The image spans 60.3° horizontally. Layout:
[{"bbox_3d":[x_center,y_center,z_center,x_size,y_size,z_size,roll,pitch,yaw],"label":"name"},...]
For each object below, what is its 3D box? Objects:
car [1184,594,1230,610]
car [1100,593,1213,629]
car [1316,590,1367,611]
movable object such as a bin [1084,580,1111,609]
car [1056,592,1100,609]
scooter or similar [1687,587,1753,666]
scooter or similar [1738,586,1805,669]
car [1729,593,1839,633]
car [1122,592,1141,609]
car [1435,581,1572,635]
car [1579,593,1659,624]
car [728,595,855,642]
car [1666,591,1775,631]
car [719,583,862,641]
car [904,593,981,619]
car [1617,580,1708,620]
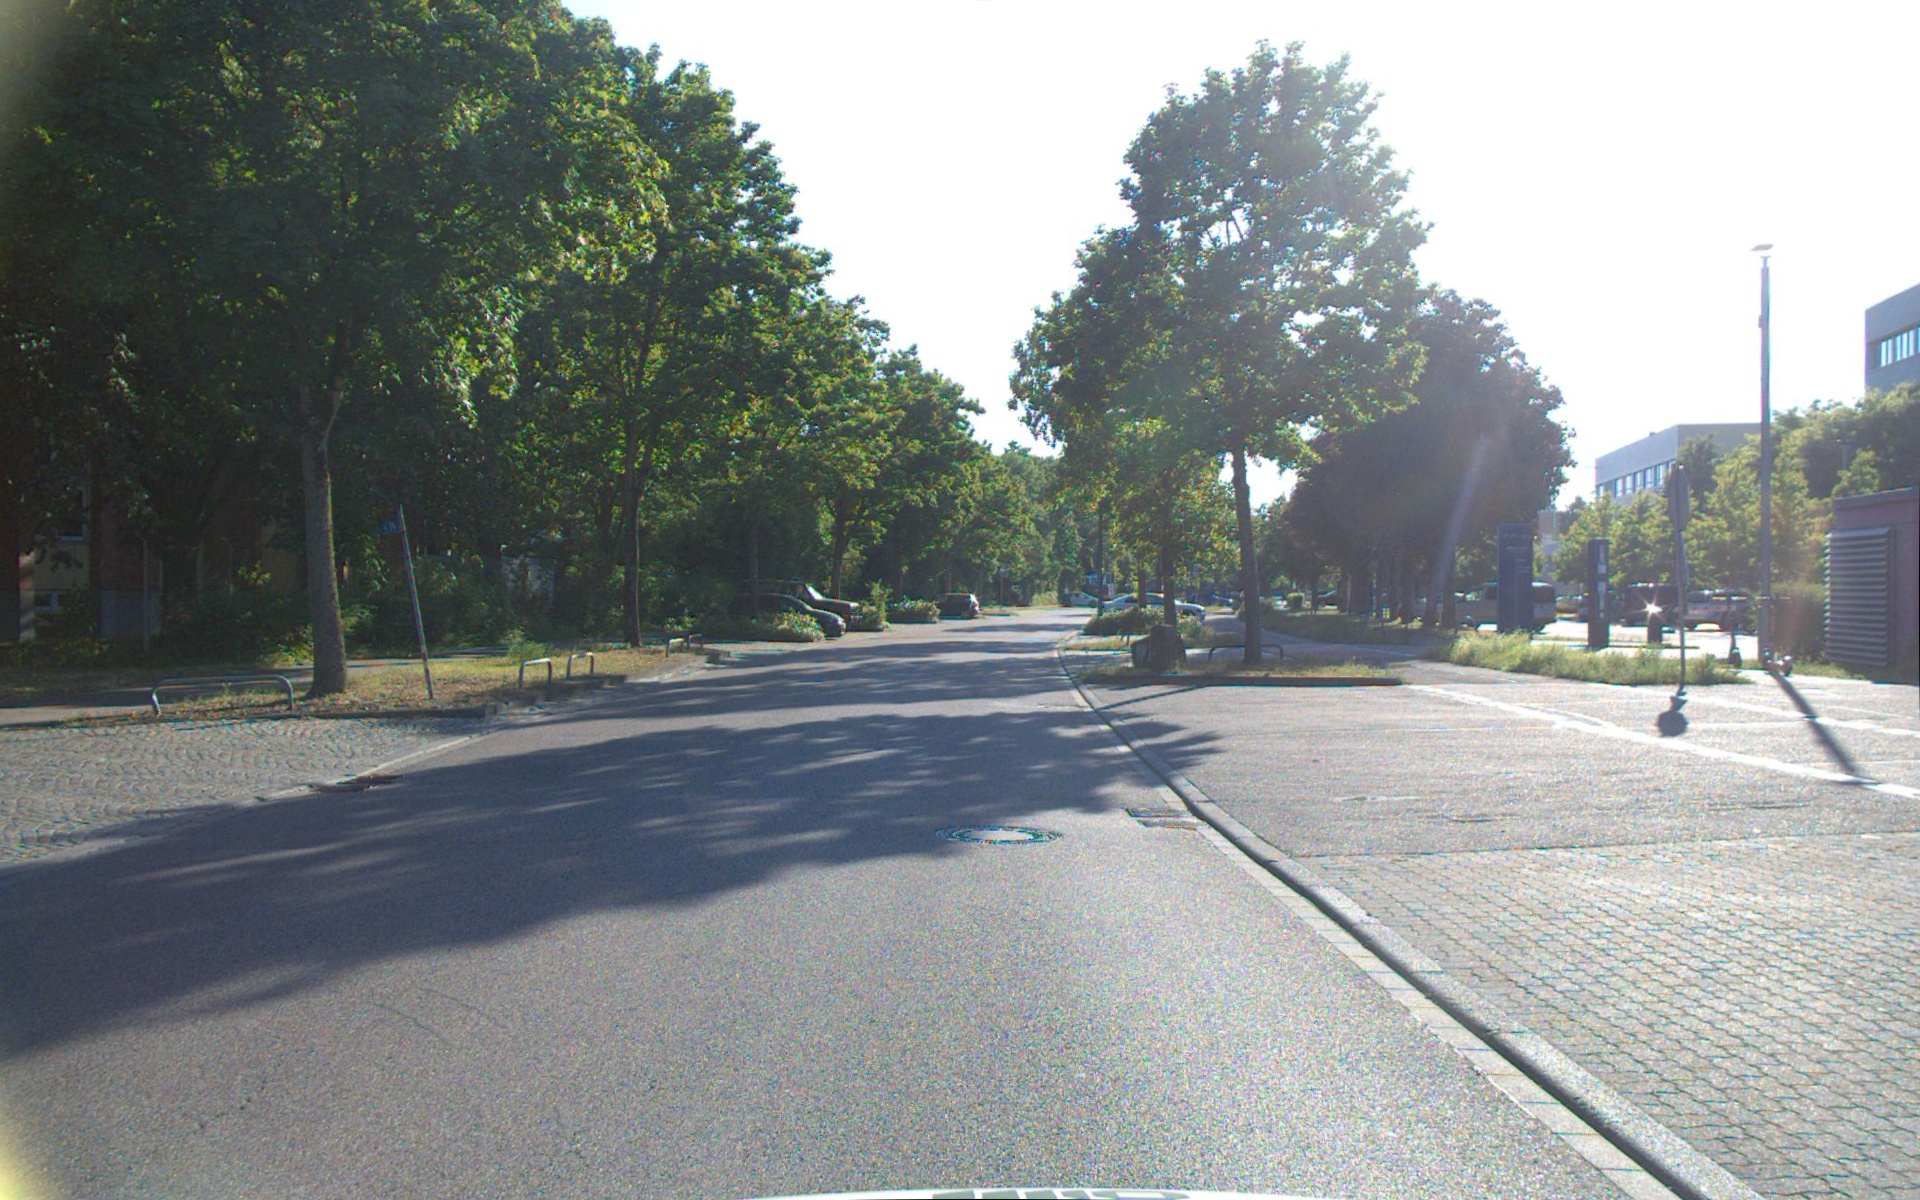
[{"bbox_3d":[26.448,0.234,177.157,4.738,1.505,2.002,2,0,12],"label":"car"},{"bbox_3d":[8.960,0.510,75.785,5.066,1.601,2.159,0,0,5],"label":"car"},{"bbox_3d":[34.615,0.054,150.052,4.335,1.735,2.061,2,0,10],"label":"car"},{"bbox_3d":[15.203,-0.618,182.560,2.778,3.122,4.930,2,0,6],"label":"movable object such as a bin"},{"bbox_3d":[12.143,0.016,170.208,4.265,1.574,2.002,2,0,12],"label":"car"},{"bbox_3d":[12.748,0.430,27.773,0.509,1.294,1.388,0,0,2],"label":"scooter or similar"},{"bbox_3d":[12.946,0.436,26.415,0.509,1.294,1.201,0,0,2],"label":"scooter or similar"},{"bbox_3d":[29.382,0.449,58.941,3.951,1.378,1.786,0,0,-34],"label":"car"},{"bbox_3d":[23.941,0.064,231.398,2.463,2.428,4.375,0,0,4],"label":"car"},{"bbox_3d":[20.997,0.258,64.076,1.977,1.967,4.893,0,1,-35],"label":"car"},{"bbox_3d":[34.321,0.437,86.109,4.247,1.554,1.749,-1,0,-32],"label":"car"},{"bbox_3d":[-5.785,0.631,57.102,4.123,1.557,1.706,0,0,4],"label":"car"},{"bbox_3d":[30.149,0.424,65.548,4.252,1.555,1.789,0,0,-30],"label":"car"},{"bbox_3d":[-6.197,0.439,60.775,4.899,2.055,2.175,0,0,4],"label":"car"},{"bbox_3d":[-1.007,0.364,97.766,4.265,1.505,2.002,0,0,8],"label":"car"},{"bbox_3d":[32.191,-0.032,75.724,4.442,1.780,1.747,-1,0,-34],"label":"car"}]
